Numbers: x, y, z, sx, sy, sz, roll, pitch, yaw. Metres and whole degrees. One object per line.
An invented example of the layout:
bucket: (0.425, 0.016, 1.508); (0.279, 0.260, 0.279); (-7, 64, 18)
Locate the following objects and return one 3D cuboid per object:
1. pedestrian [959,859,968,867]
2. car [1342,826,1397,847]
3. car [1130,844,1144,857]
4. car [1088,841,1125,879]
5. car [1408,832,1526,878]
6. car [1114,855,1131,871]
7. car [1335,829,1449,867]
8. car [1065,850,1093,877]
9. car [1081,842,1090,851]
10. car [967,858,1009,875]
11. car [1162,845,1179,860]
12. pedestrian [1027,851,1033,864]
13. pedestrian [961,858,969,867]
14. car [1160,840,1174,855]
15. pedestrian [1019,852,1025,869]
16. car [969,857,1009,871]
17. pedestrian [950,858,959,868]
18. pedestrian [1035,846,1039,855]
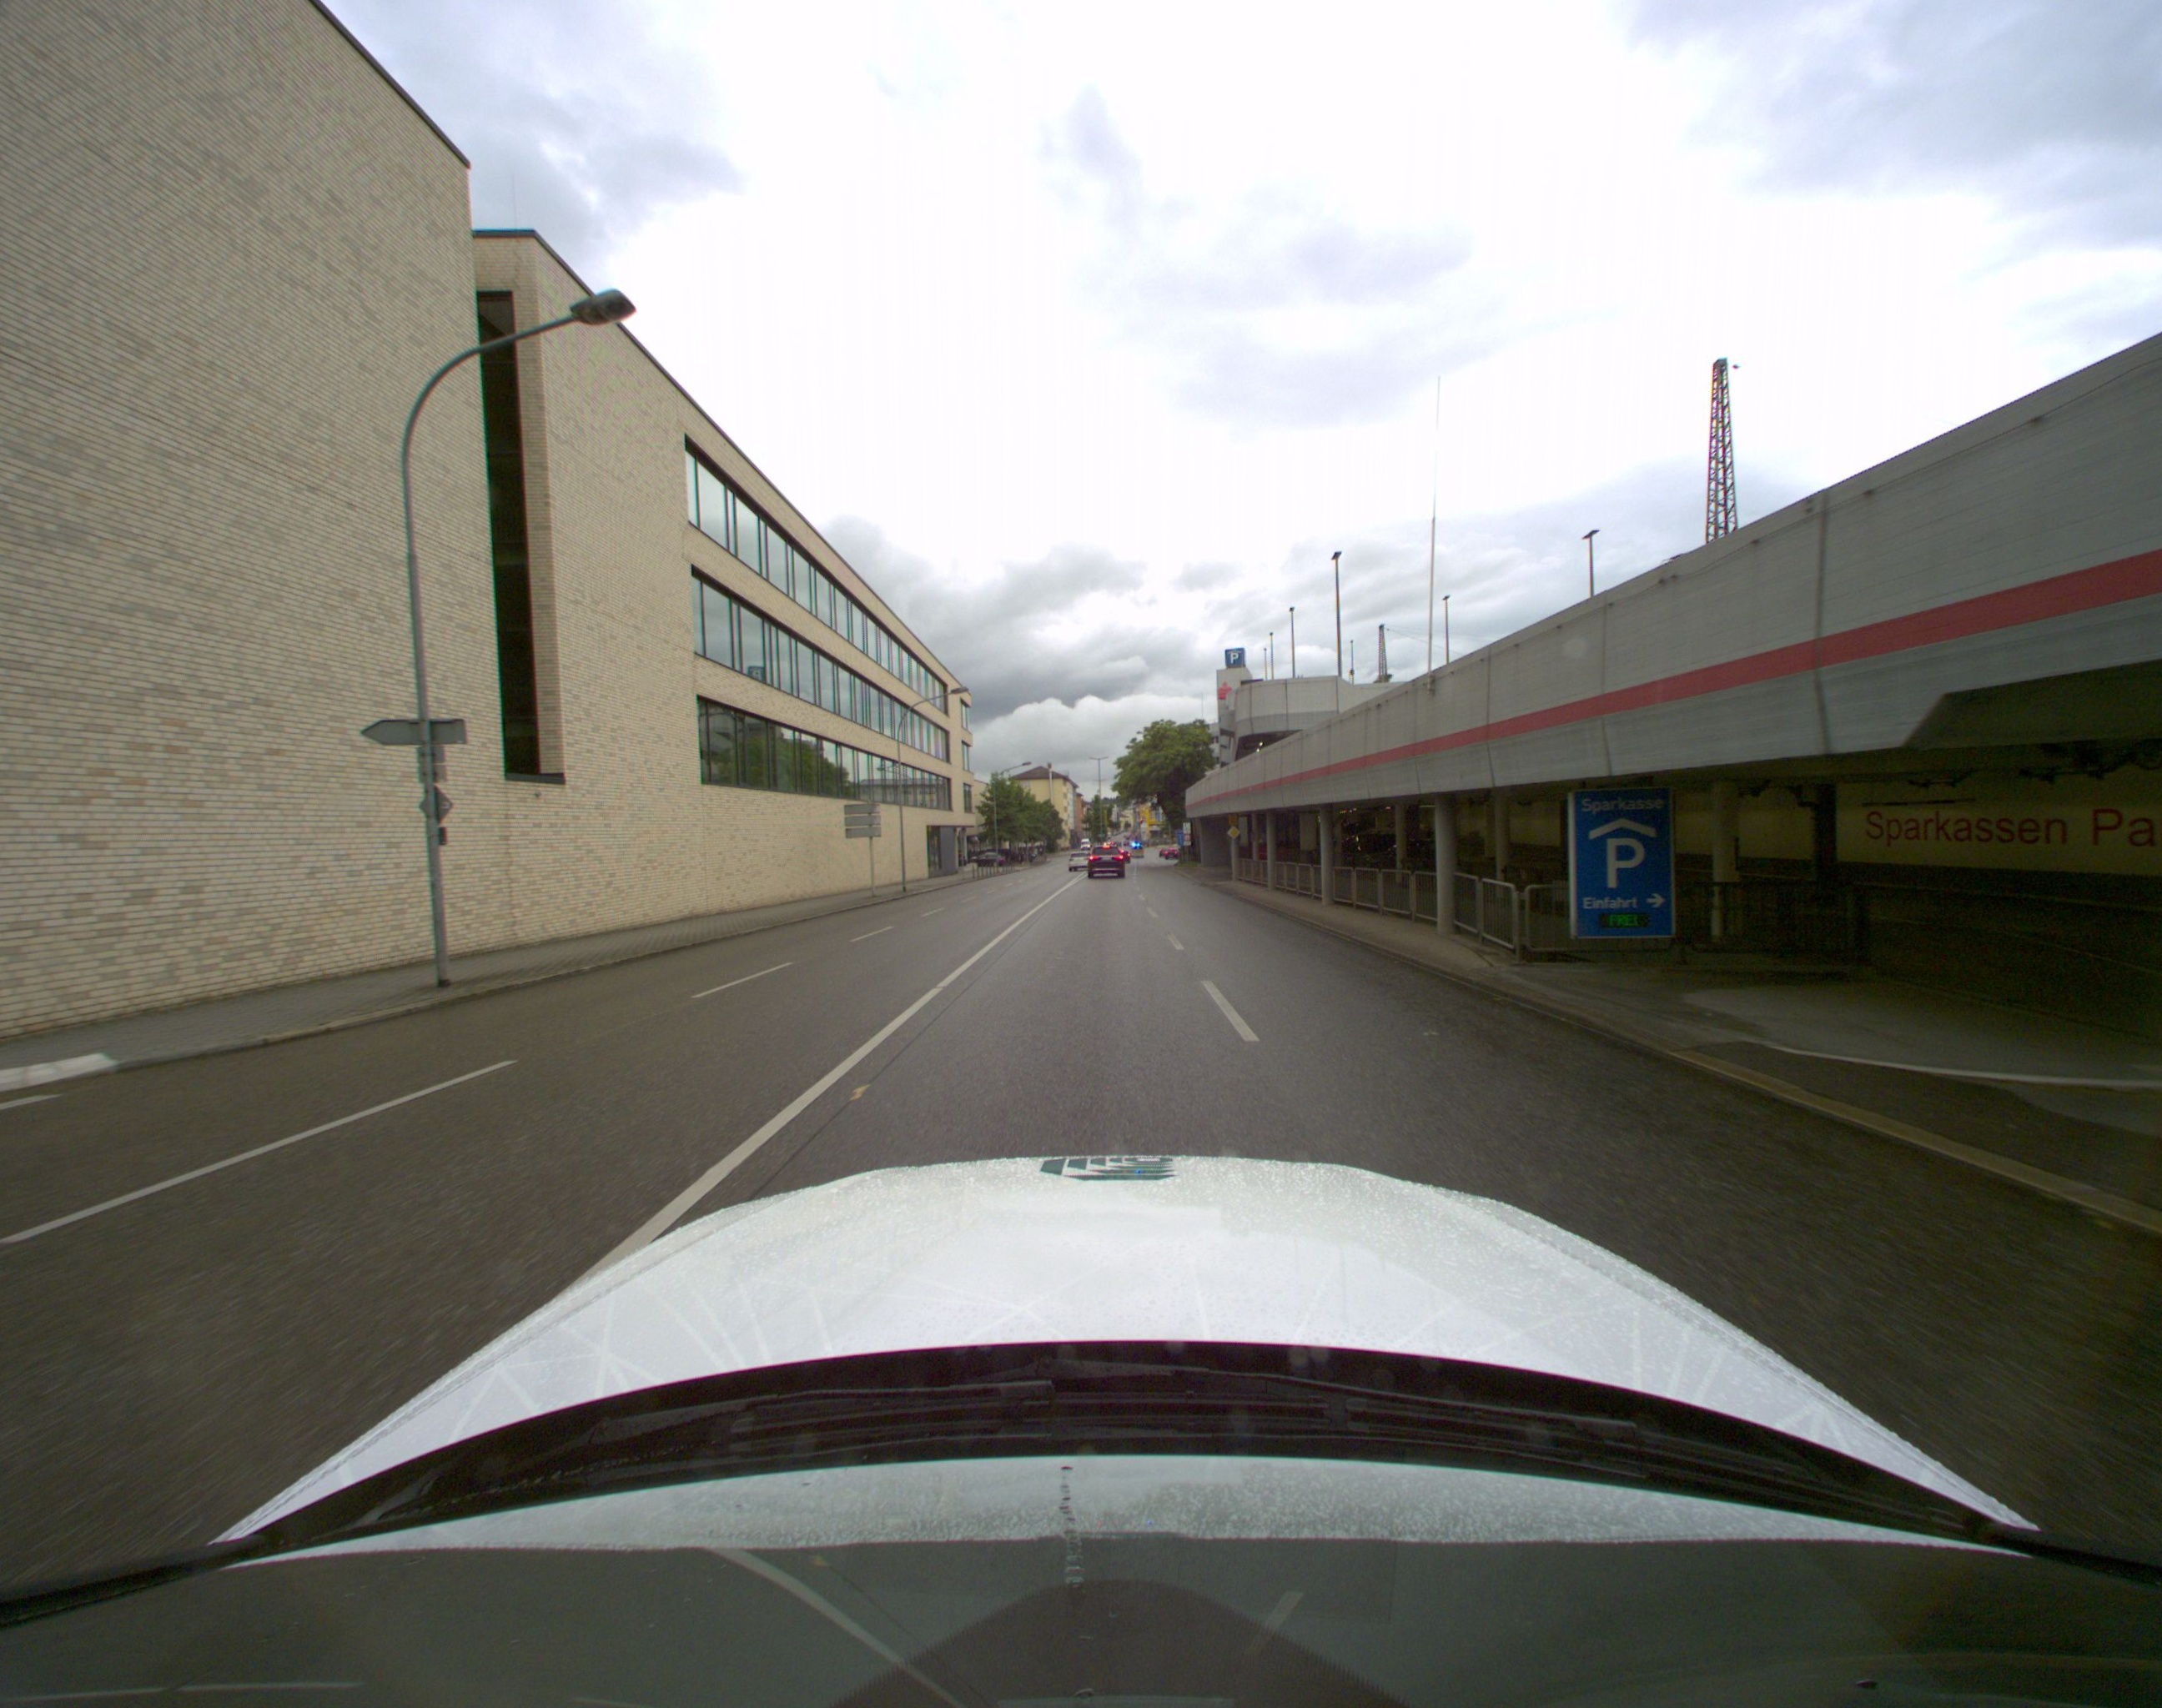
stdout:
pedestrian: (-10.451, 0.803, 72.364); (0.595, 0.786, 0.761); (0, -1, 3)
car: (23.346, -1.428, 66.086); (3.960, 1.640, 2.007); (0, -1, 12)
car: (8.417, -0.499, 122.811); (1.986, 2.014, 4.002); (0, -1, 2)
car: (1.428, 0.319, 45.305); (1.986, 2.014, 4.002); (0, -1, 2)
car: (14.715, 0.033, 31.220); (3.699, 1.505, 1.813); (-3, 1, 10)
car: (4.532, 0.941, 89.005); (1.697, 1.716, 3.443); (0, -1, 0)
car: (13.832, -0.254, 36.446); (4.546, 1.640, 1.827); (0, -1, 11)
car: (-0.125, 0.735, 62.849); (1.986, 2.014, 4.002); (0, -1, 2)
car: (1.002, -1.741, 180.544); (1.986, 1.875, 5.143); (0, -1, 2)
car: (-10.421, 1.382, 91.622); (4.458, 1.587, 1.998); (-3, 0, -3)
car: (12.363, -0.254, 112.414); (1.986, 2.013, 4.002); (-1, 0, 1)
pedestrian: (-6.971, 0.470, 111.581); (0.686, 1.726, 0.754); (0, -3, 3)
pedestrian: (-10.441, 0.765, 73.388); (0.584, 0.845, 0.728); (-1, -1, 3)
car: (13.114, -0.995, 124.409); (1.984, 2.128, 4.006); (0, -1, 5)
pedestrian: (-6.842, 0.776, 94.020); (0.585, 2.014, 0.749); (0, -1, 1)
car: (-10.594, 1.133, 94.378); (4.405, 1.573, 1.999); (0, 1, -2)
pedestrian: (-11.069, 0.775, 71.363); (0.678, 0.886, 0.525); (0, -1, 3)
pedestrian: (-7.825, -0.643, 144.389); (0.708, 1.462, 0.599); (0, -1, 2)
